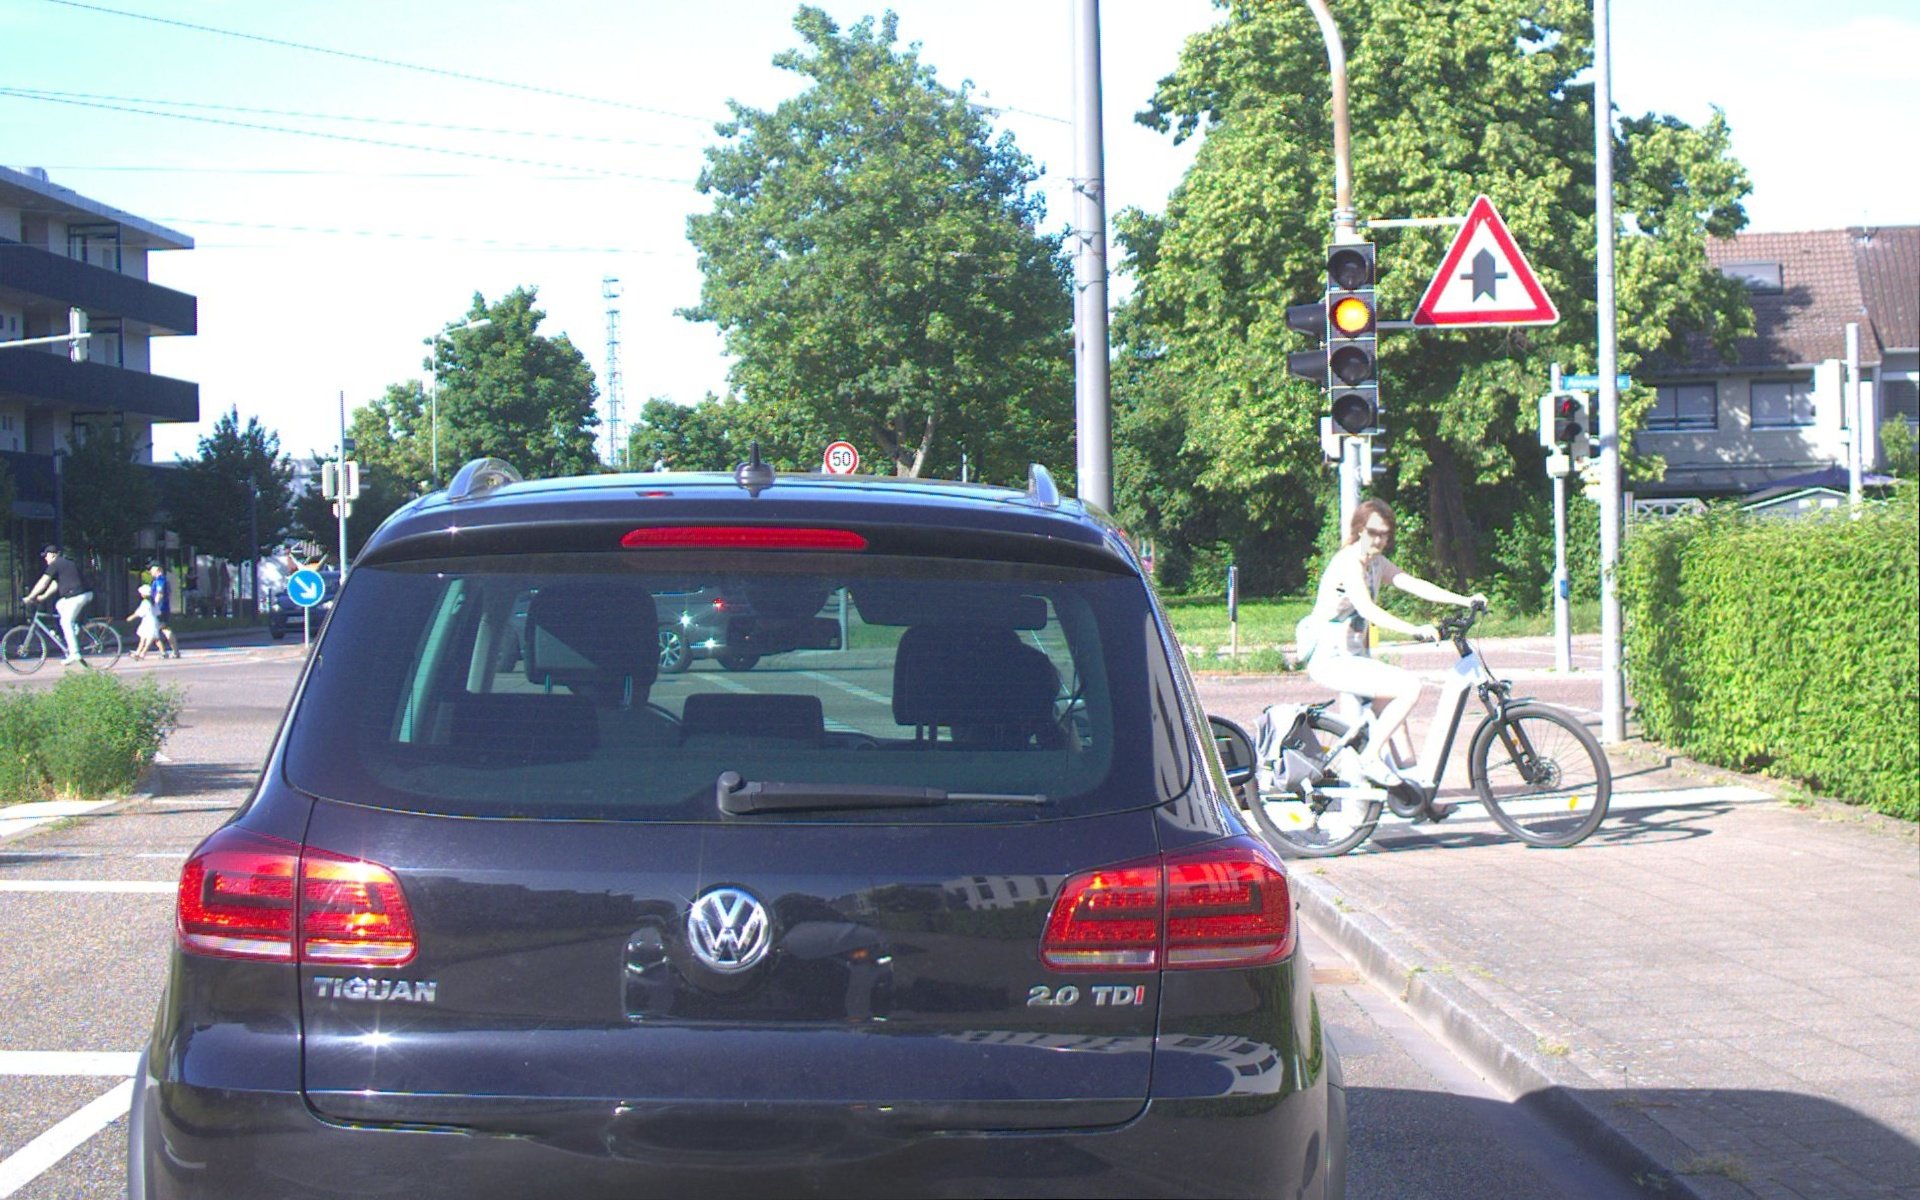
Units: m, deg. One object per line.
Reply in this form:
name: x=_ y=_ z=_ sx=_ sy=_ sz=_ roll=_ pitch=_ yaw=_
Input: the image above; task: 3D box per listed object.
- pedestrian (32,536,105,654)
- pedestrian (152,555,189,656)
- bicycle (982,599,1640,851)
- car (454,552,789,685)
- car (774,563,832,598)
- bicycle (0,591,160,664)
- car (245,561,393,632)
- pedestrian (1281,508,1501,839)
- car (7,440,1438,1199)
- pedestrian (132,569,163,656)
pedestrian: x=-13.000 y=-0.074 z=50.145 sx=0.813 sy=1.686 sz=0.620 roll=-1 pitch=1 yaw=7
pedestrian: x=-13.801 y=0.094 z=60.078 sx=0.543 sy=1.738 sz=0.518 roll=1 pitch=0 yaw=-6
bicycle: x=1.746 y=0.621 z=17.237 sx=3.118 sy=1.169 sz=0.930 roll=-1 pitch=1 yaw=23
car: x=-4.535 y=0.225 z=46.161 sx=3.991 sy=1.678 sz=1.998 roll=1 pitch=1 yaw=21
car: x=-7.239 y=-0.914 z=158.921 sx=1.994 sy=1.569 sz=4.338 roll=1 pitch=1 yaw=7
bicycle: x=-12.959 y=0.402 z=50.154 sx=2.410 sy=0.999 sz=0.640 roll=-1 pitch=1 yaw=7
car: x=-14.814 y=-0.097 z=79.664 sx=1.994 sy=1.569 sz=4.337 roll=1 pitch=1 yaw=9
pedestrian: x=2.146 y=0.352 z=17.056 sx=0.852 sy=1.588 sz=0.913 roll=-1 pitch=1 yaw=21
car: x=-0.338 y=0.598 z=6.524 sx=1.869 sy=1.632 sz=4.000 roll=1 pitch=1 yaw=-1
pedestrian: x=-14.050 y=0.211 z=59.445 sx=0.441 sy=1.498 sz=0.518 roll=1 pitch=0 yaw=-6
